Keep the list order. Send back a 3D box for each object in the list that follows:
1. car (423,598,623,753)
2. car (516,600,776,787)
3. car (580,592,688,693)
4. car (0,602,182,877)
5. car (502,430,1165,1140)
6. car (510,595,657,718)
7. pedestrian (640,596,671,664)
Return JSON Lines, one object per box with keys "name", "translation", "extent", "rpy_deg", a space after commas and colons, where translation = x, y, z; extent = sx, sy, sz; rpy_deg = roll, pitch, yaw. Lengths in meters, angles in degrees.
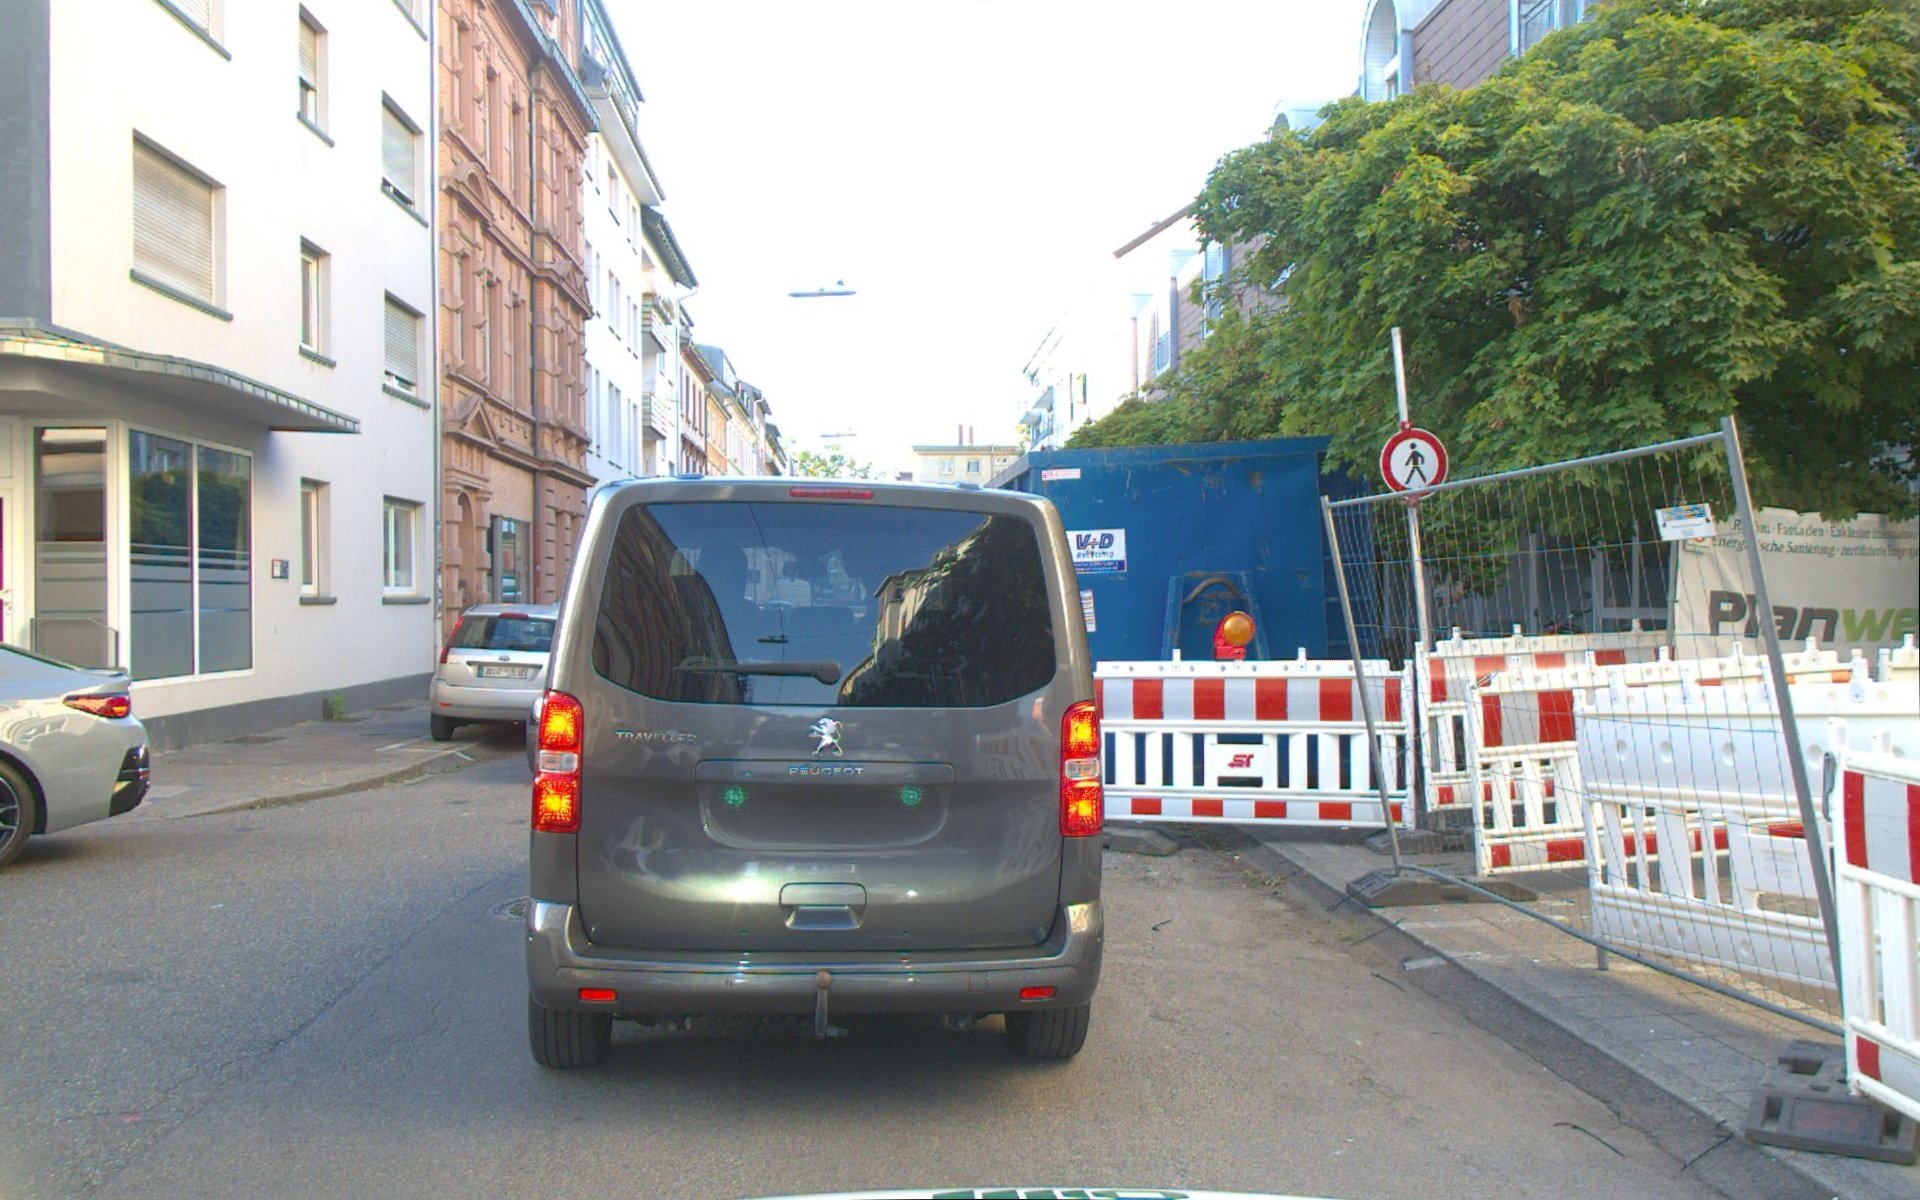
{"name": "car", "translation": [-4.836, 0.803, 18.731], "extent": [1.625, 1.485, 3.412], "rpy_deg": [4, -1, -7]}
{"name": "car", "translation": [-2.753, 0.799, 15.200], "extent": [1.622, 1.486, 3.418], "rpy_deg": [-1, -1, 2]}
{"name": "car", "translation": [-6.079, 0.784, 31.100], "extent": [1.635, 1.695, 3.087], "rpy_deg": [4, -1, -7]}
{"name": "car", "translation": [-6.902, 0.777, 8.733], "extent": [4.766, 1.477, 1.906], "rpy_deg": [-1, 0, -40]}
{"name": "car", "translation": [-0.572, 0.525, 6.701], "extent": [1.829, 1.919, 4.229], "rpy_deg": [0, -1, -7]}
{"name": "car", "translation": [-5.388, 0.778, 24.030], "extent": [1.625, 1.552, 3.412], "rpy_deg": [4, -1, -7]}
{"name": "pedestrian", "translation": [-7.662, 0.740, 41.664], "extent": [0.726, 1.693, 0.702], "rpy_deg": [-1, 0, -8]}
